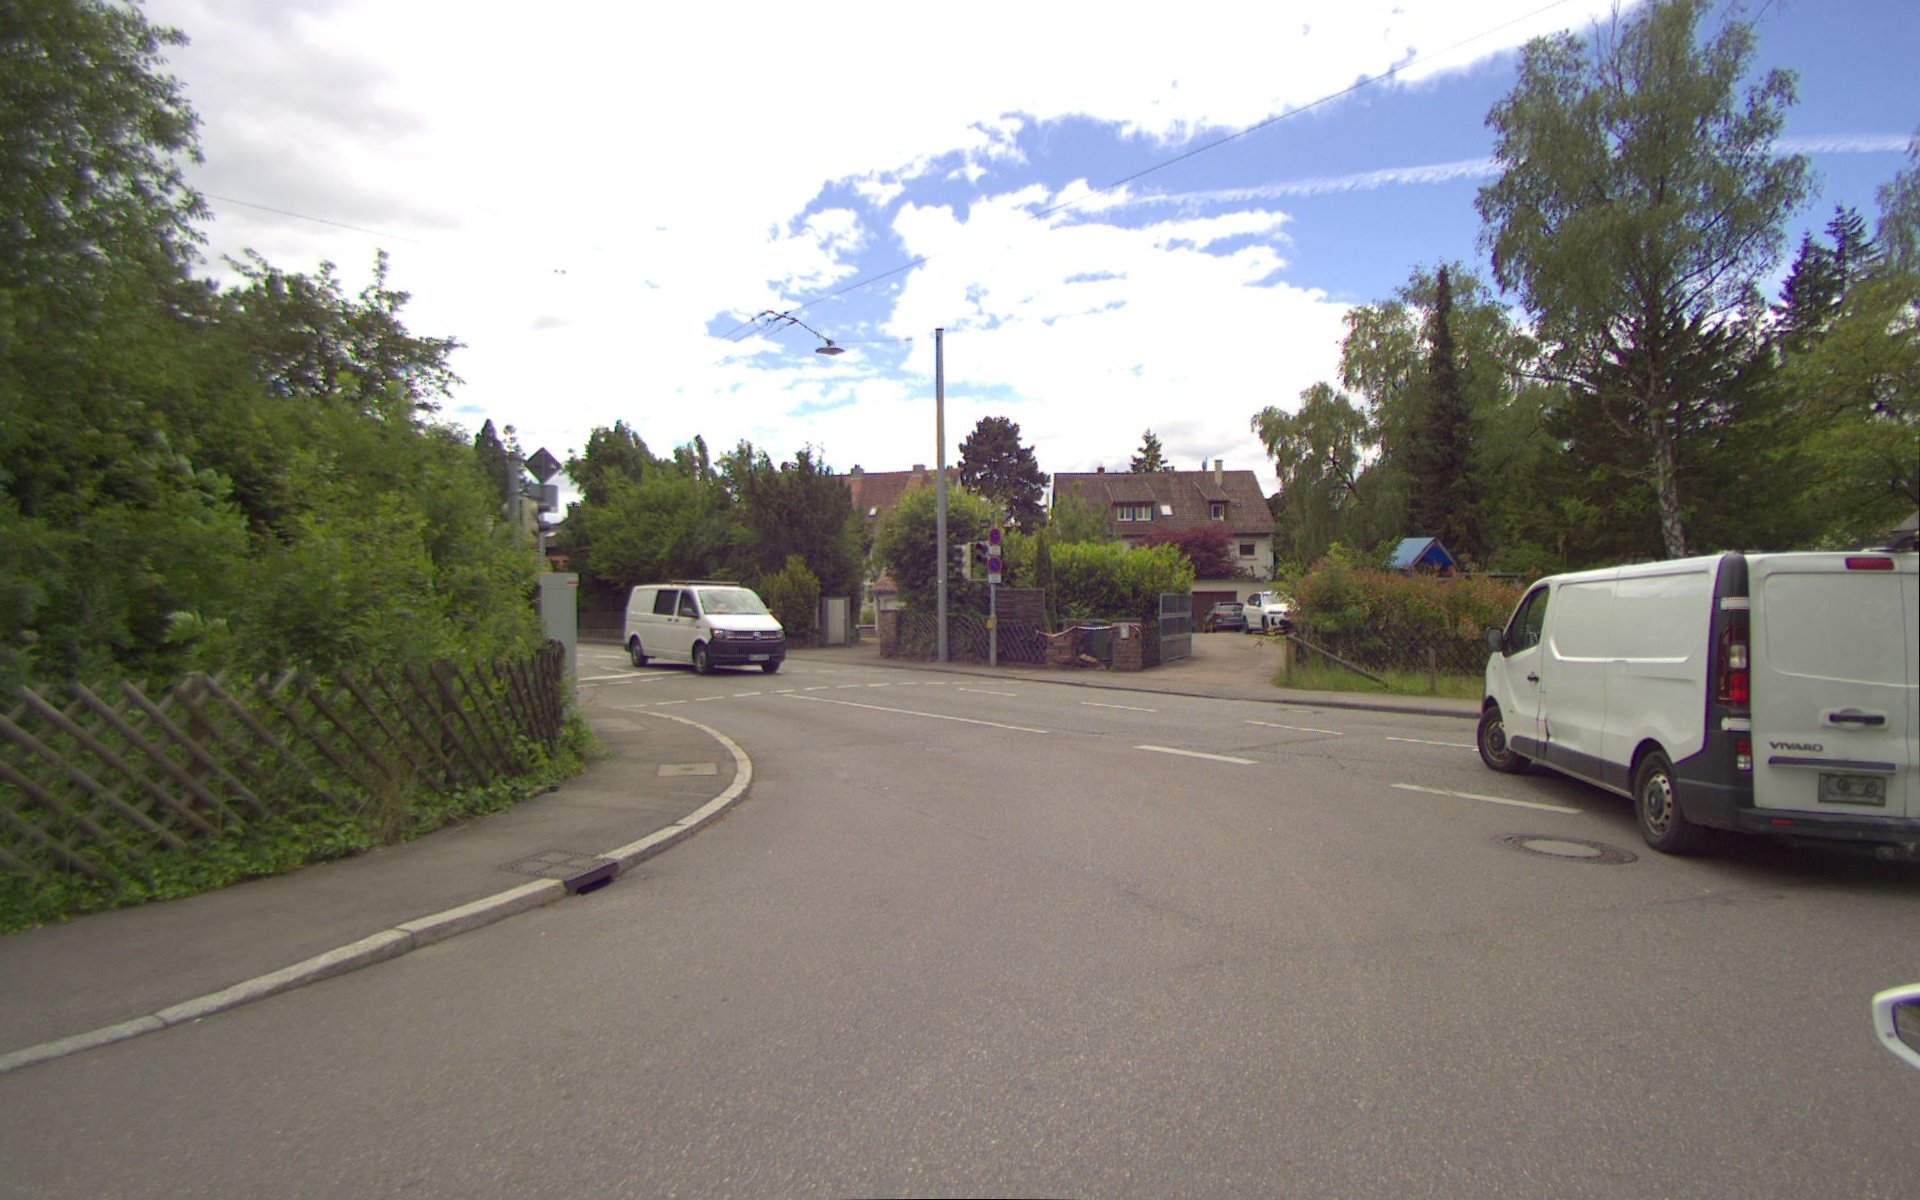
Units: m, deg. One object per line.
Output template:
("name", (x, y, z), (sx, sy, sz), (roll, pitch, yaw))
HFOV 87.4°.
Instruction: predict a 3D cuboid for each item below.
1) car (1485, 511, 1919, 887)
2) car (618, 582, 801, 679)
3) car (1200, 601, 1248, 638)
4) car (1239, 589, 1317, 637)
("car", (5.768, 0.594, 7.831), (1.884, 2.080, 4.617), (0, -1, 13))
("car", (-5.932, 0.626, 23.332), (1.985, 2.005, 5.135), (0, 0, -42))
("car", (12.679, 0.911, 48.448), (1.959, 1.680, 4.346), (-1, 0, 11))
("car", (12.175, 0.485, 38.736), (1.960, 1.680, 4.345), (-3, -1, 5))
